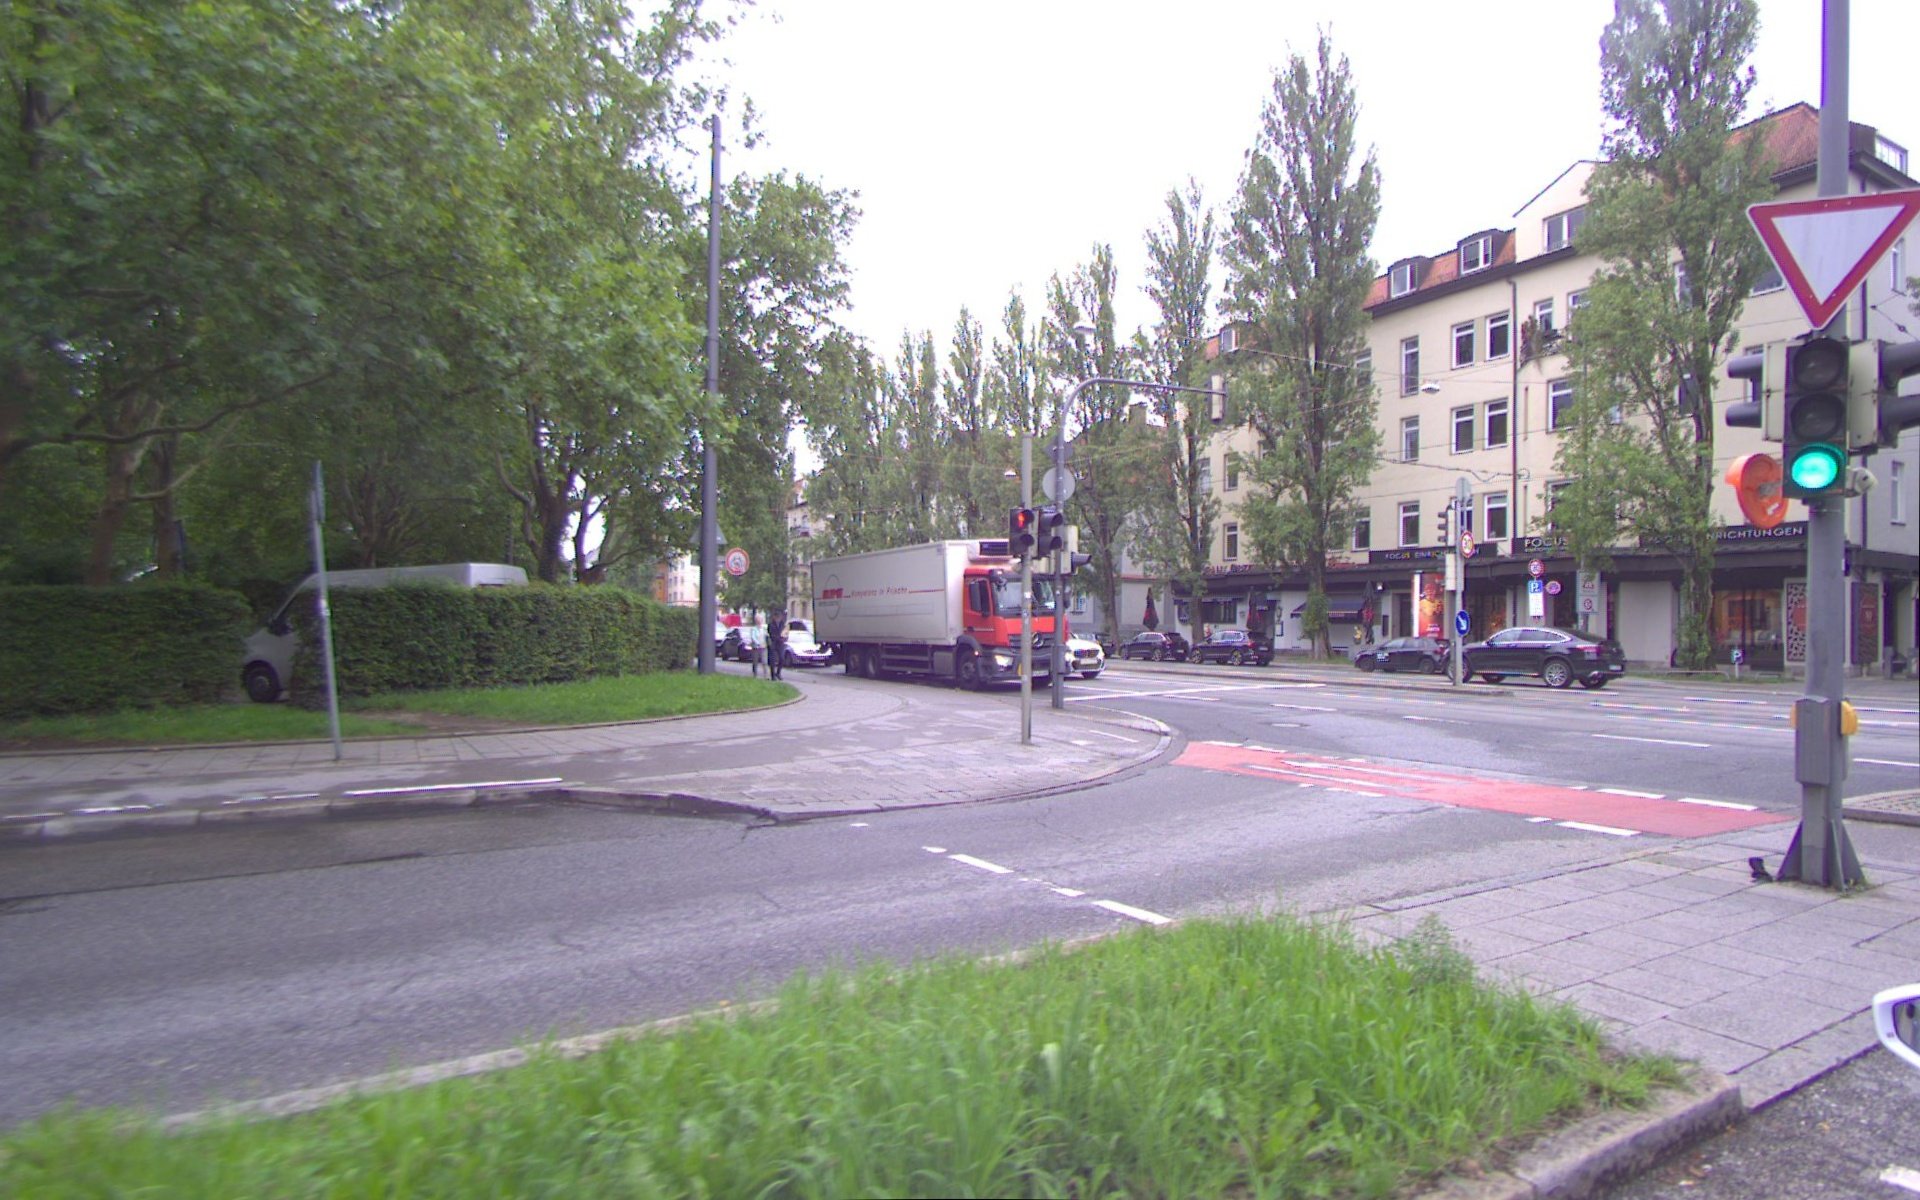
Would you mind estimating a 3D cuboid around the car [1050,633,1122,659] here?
[{"bbox_3d":[7.106,2.590,56.975,1.784,1.417,4.346,1,-2,-30],"label":"car"}]

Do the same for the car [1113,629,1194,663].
[{"bbox_3d":[9.951,2.348,51.903,1.784,1.633,4.270,1,-2,-30],"label":"car"}]

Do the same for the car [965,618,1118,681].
[{"bbox_3d":[2.296,1.400,29.534,1.901,1.705,4.845,2,-2,-34],"label":"car"}]

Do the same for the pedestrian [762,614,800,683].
[{"bbox_3d":[-4.456,1.194,24.981,0.681,1.685,0.653,2,-2,-43],"label":"pedestrian"}]

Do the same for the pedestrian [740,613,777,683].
[{"bbox_3d":[-4.890,1.161,24.411,0.681,1.685,0.548,2,-2,-43],"label":"pedestrian"}]

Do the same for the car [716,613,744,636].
[{"bbox_3d":[-27.283,2.884,119.174,1.976,2.608,4.643,2,0,-29],"label":"car"}]

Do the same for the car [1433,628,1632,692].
[{"bbox_3d":[15.575,1.578,27.578,1.721,1.569,4.541,1,-2,-29],"label":"car"}]

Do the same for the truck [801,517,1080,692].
[{"bbox_3d":[-1.155,0.236,28.837,2.716,4.033,11.622,0,-1,-30],"label":"truck"}]

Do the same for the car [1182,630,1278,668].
[{"bbox_3d":[12.609,2.266,47.142,1.707,1.633,4.435,1,-2,-30],"label":"car"}]

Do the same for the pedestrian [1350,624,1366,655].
[{"bbox_3d":[20.386,2.034,51.435,0.568,1.583,0.492,2,0,-30],"label":"pedestrian"}]

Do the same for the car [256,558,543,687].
[{"bbox_3d":[-10.764,0.453,19.430,4.535,2.040,2.001,-5,-2,11],"label":"car"}]

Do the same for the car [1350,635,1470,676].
[{"bbox_3d":[17.538,2.142,39.316,1.786,1.485,3.963,2,-2,-33],"label":"car"}]
